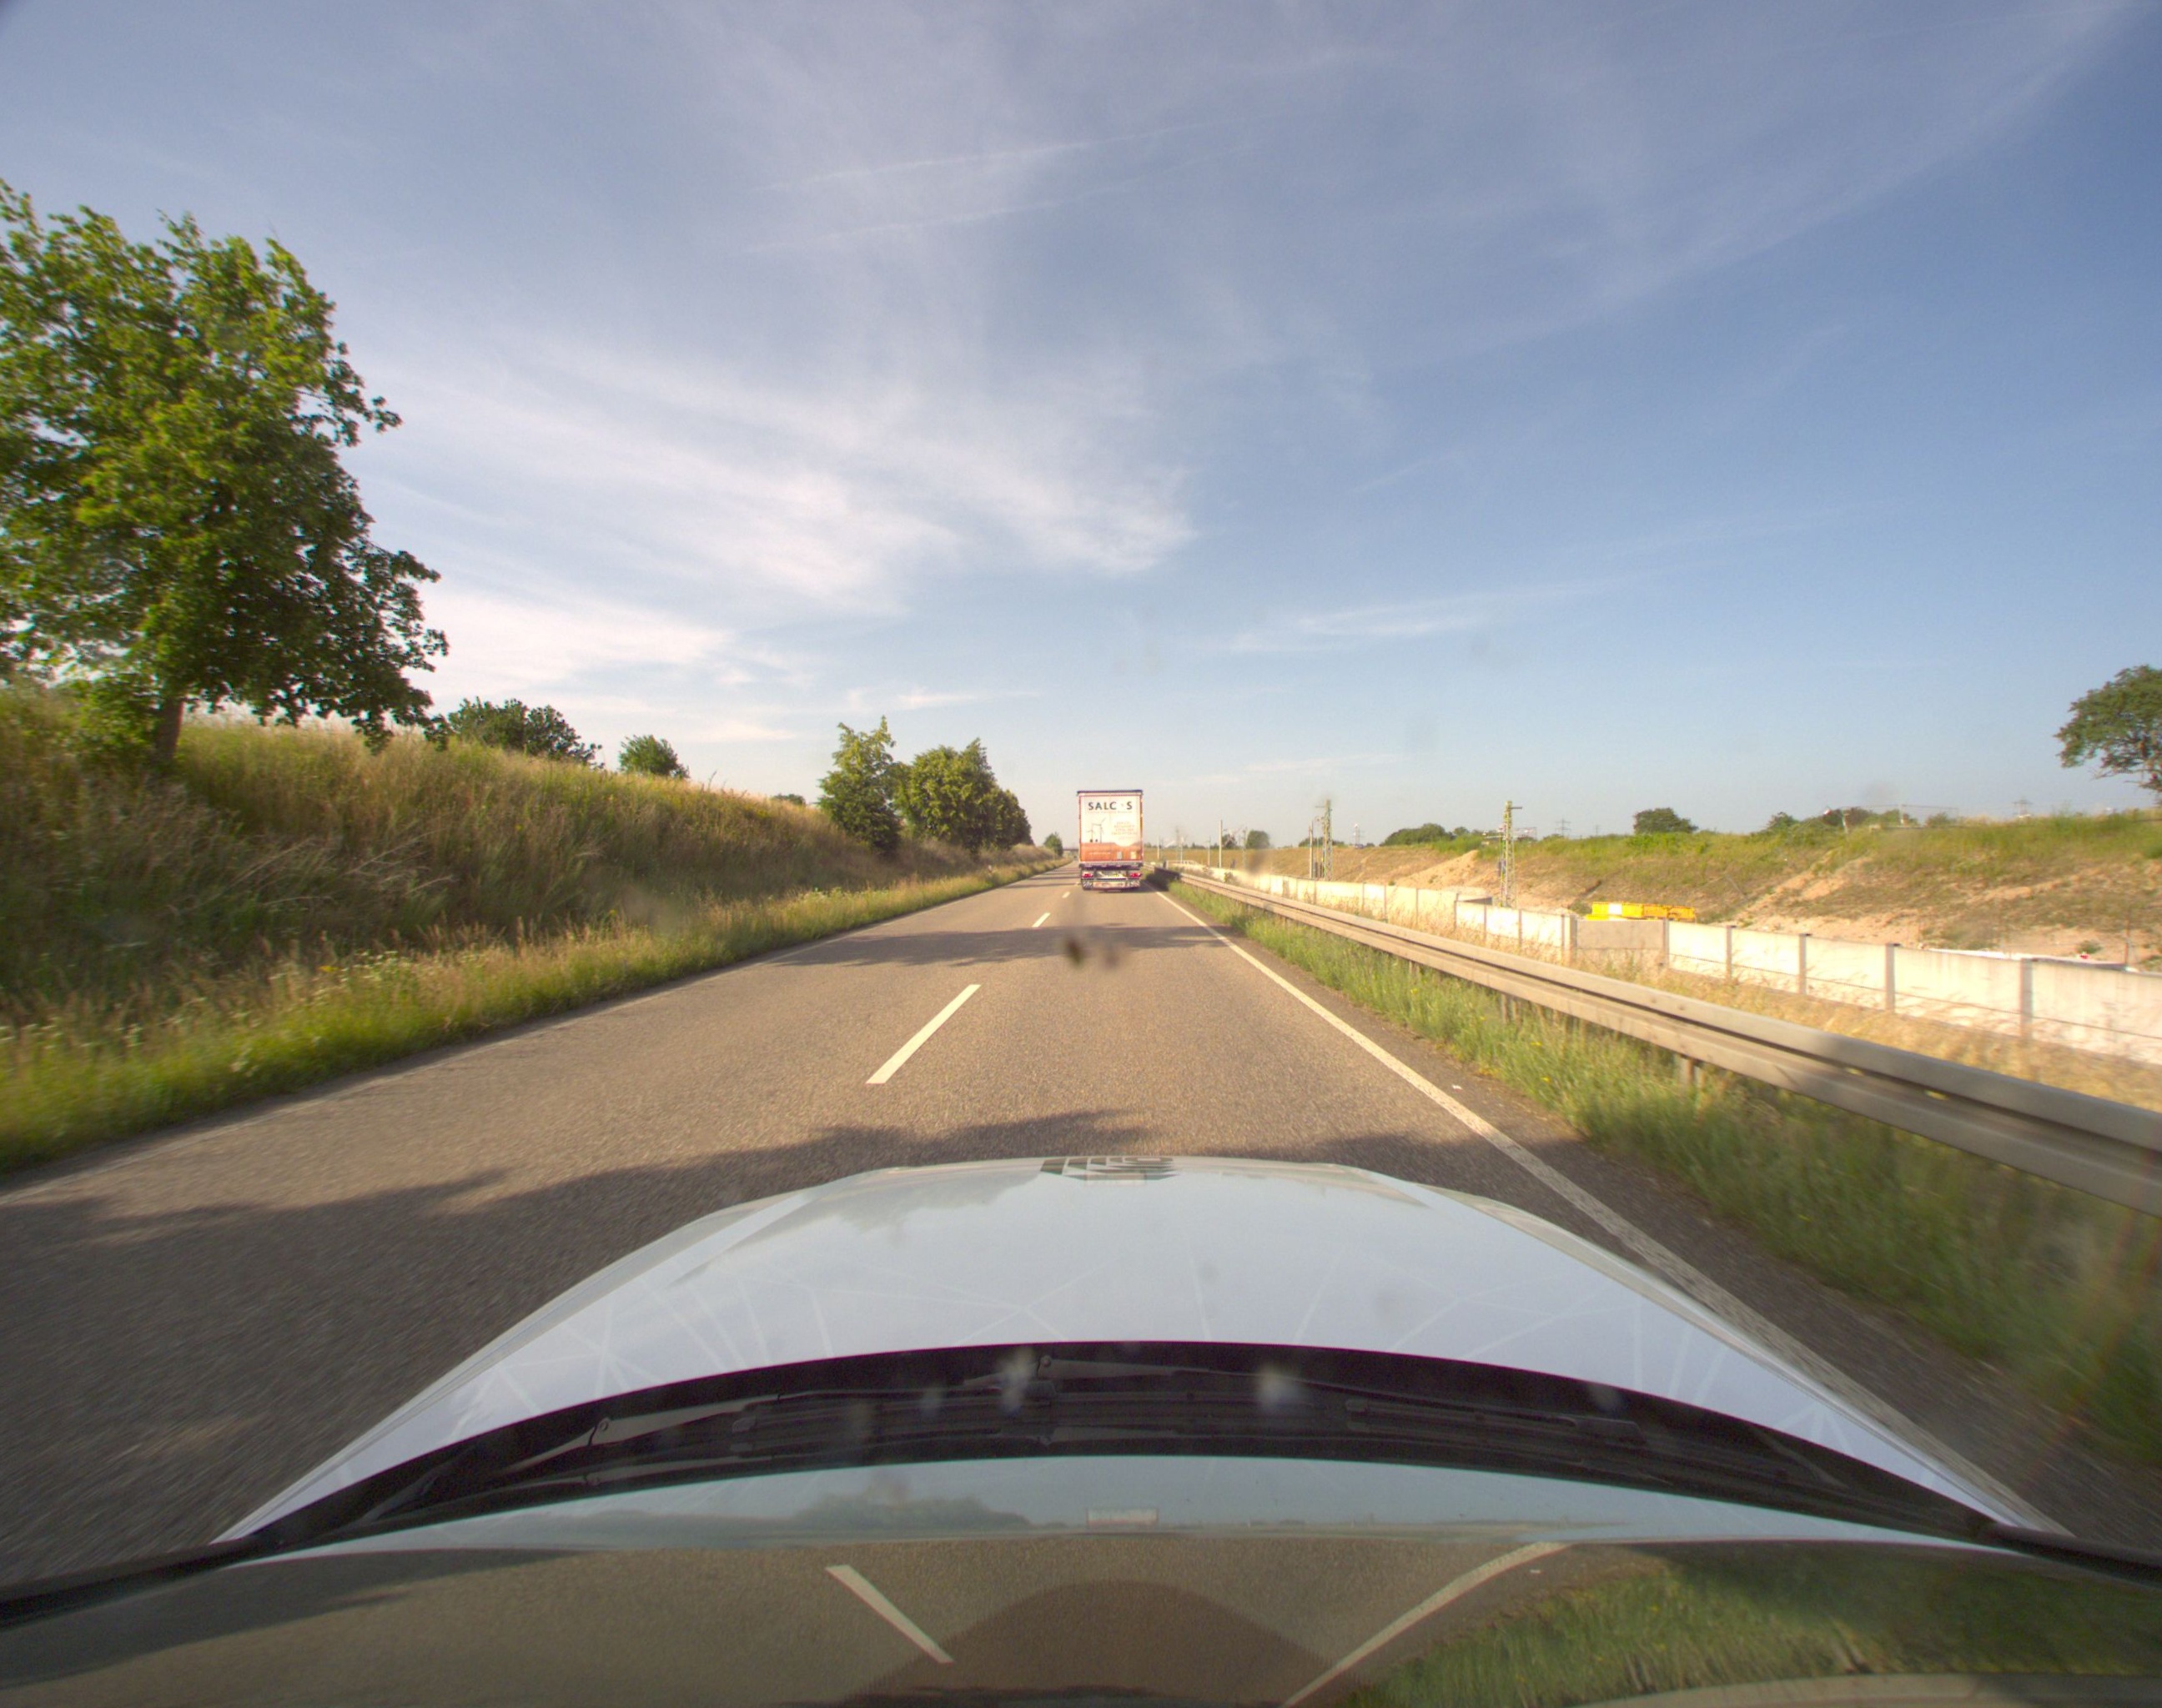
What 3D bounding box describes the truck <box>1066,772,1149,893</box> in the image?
[{"bbox_3d":[1.251,-0.848,36.039,3.140,4.688,8.447,-1,0,3],"label":"truck"}]
